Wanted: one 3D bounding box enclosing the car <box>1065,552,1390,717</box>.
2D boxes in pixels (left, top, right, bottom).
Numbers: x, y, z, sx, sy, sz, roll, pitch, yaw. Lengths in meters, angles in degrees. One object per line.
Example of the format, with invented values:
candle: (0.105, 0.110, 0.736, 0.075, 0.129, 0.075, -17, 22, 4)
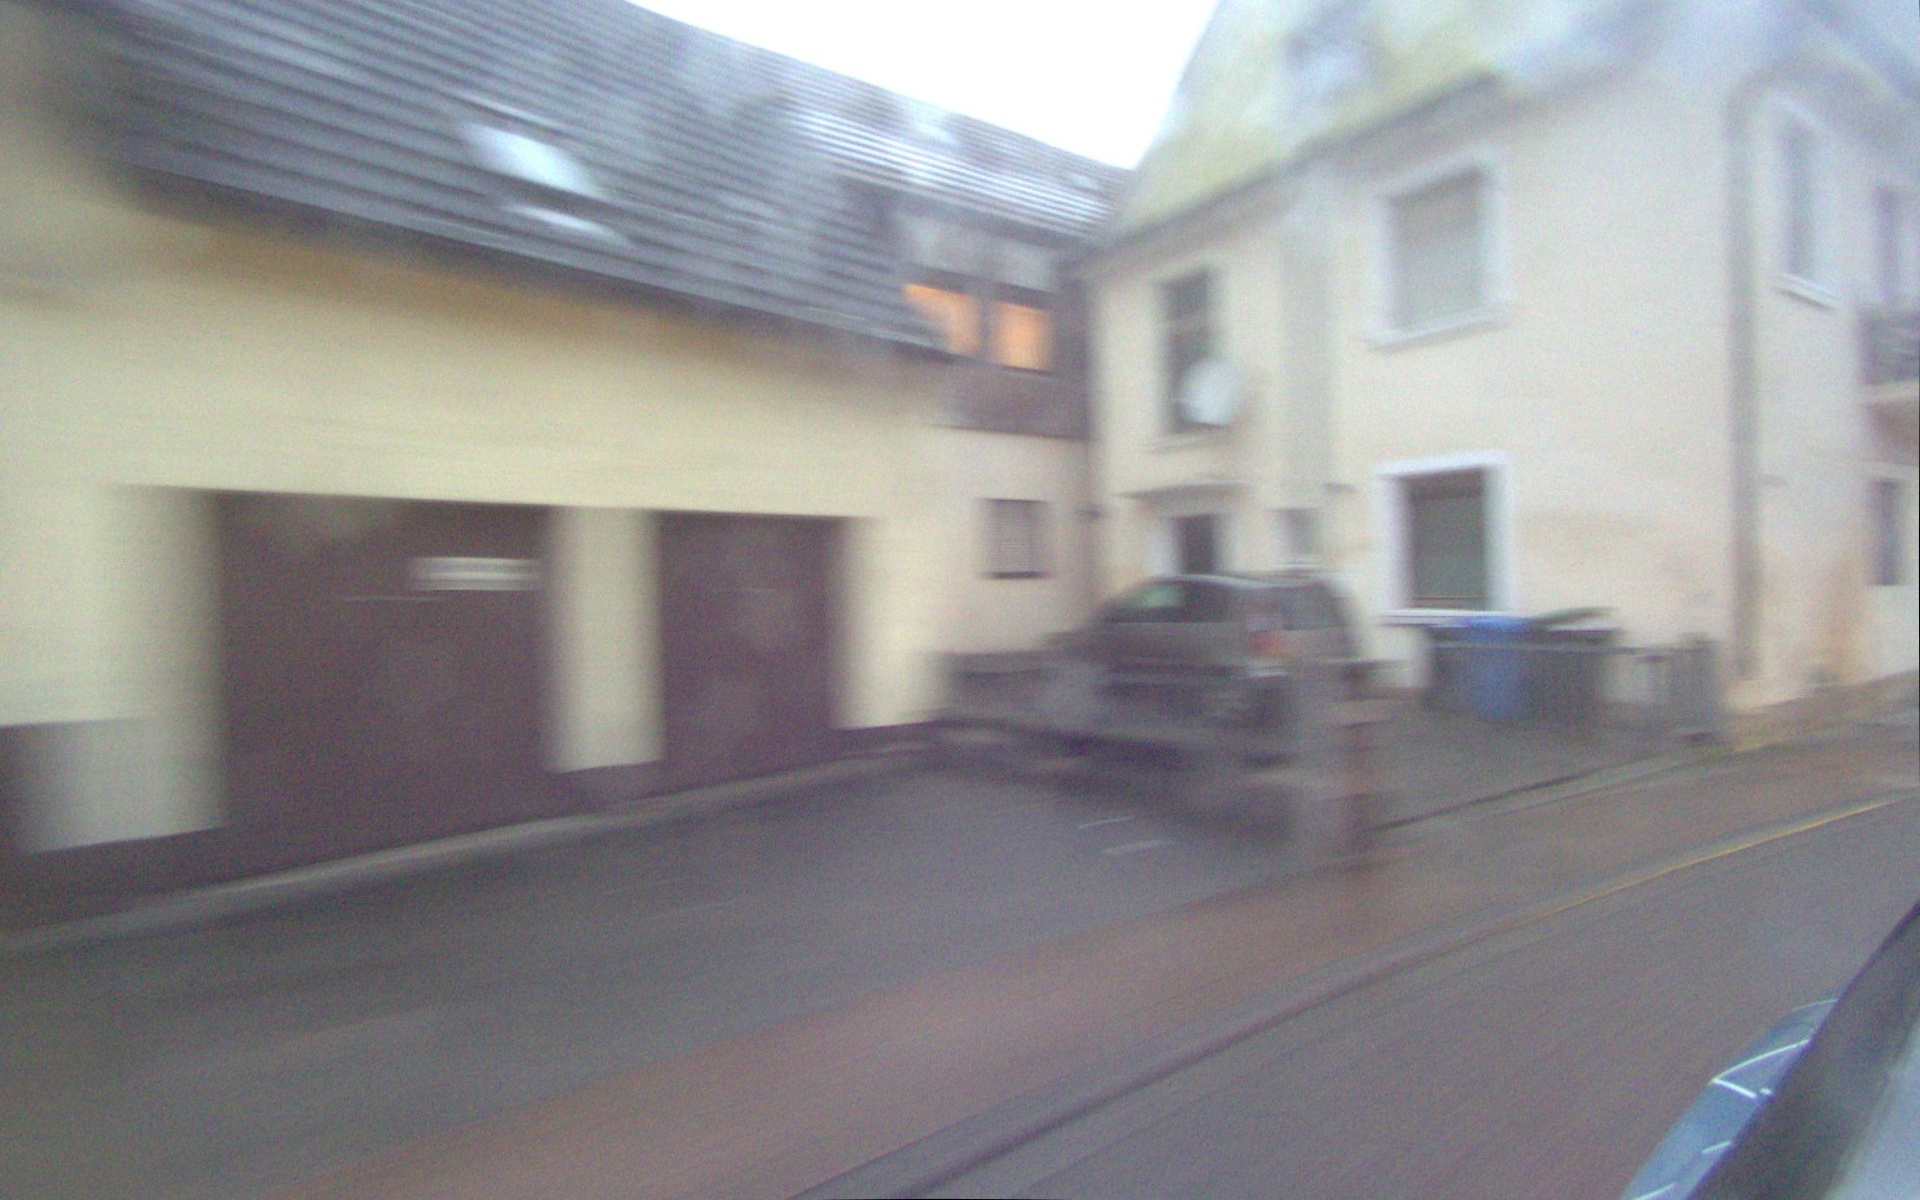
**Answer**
car: (2.847, 0.252, 11.495, 1.616, 1.524, 3.498, 0, 3, -27)
